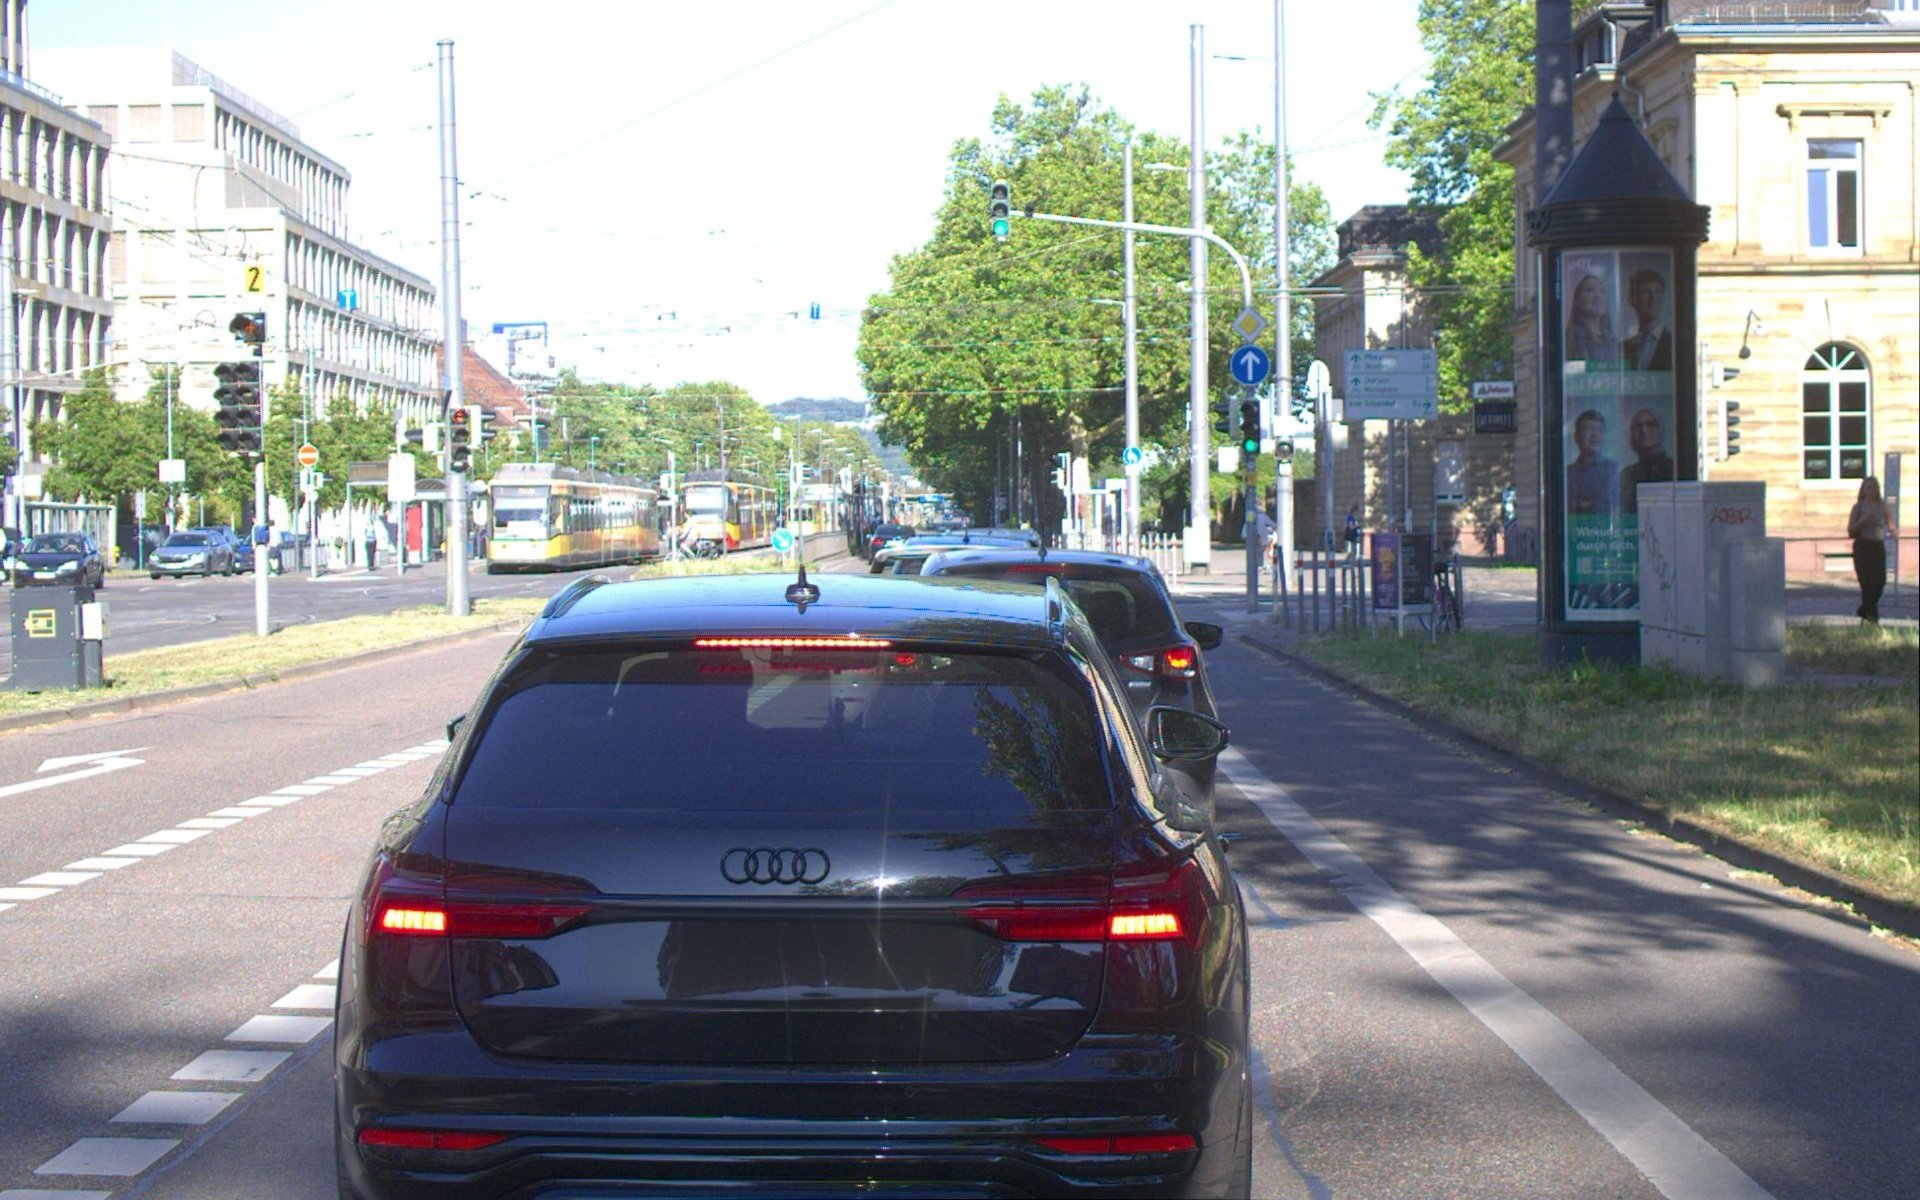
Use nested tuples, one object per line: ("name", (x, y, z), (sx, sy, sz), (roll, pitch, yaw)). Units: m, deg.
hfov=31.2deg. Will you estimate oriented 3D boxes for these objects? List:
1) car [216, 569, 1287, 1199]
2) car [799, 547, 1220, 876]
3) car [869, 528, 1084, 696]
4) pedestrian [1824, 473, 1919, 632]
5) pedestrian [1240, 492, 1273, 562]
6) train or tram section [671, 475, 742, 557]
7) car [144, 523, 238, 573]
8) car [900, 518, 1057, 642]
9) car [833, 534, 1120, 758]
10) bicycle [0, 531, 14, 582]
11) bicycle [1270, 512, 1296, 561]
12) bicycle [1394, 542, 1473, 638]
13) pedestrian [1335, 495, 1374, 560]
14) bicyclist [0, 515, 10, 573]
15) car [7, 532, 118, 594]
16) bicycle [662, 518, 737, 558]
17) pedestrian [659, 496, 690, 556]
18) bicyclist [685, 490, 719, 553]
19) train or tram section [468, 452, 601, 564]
("car", (-0.368, 0.656, 8.214), (1.902, 1.417, 4.145), (1, 1, 0))
("car", (0.231, 0.478, 17.752), (1.902, 1.481, 4.145), (1, 1, 0))
("car", (0.152, 0.077, 32.726), (1.902, 1.481, 4.145), (1, 1, 0))
("pedestrian", (9.962, -0.528, 37.587), (0.769, 1.703, 1.042), (-1, 1, 1))
("pedestrian", (7.077, -1.738, 81.957), (0.682, 1.655, 0.758), (-1, 1, -2))
("train or tram section", (-11.064, -3.700, 150.953), (2.608, 3.439, 11.134), (-1, 2, -2))
("car", (-23.577, -1.618, 105.494), (1.820, 1.452, 4.541), (-1, 1, 0))
("car", (0.232, -0.275, 43.836), (1.902, 1.481, 4.145), (1, 1, 0))
("car", (0.120, 0.278, 25.031), (1.902, 1.481, 4.145), (1, 1, 0))
("bicycle", (-26.562, -1.188, 94.155), (0.685, 1.377, 1.947), (-1, 1, 1))
("bicycle", (7.705, -1.513, 81.987), (0.434, 1.141, 1.340), (-1, 1, -2))
("bicycle", (5.411, -0.129, 39.382), (0.540, 1.058, 1.772), (-1, 1, -4))
("pedestrian", (11.284, -2.073, 98.322), (0.979, 1.859, 0.827), (-1, 1, 0))
("bicyclist", (-26.498, -1.532, 94.200), (0.685, 1.557, 0.785), (-1, 1, 1))
("car", (-22.128, -0.944, 84.914), (1.820, 1.452, 4.166), (-1, 1, -3))
("bicycle", (-7.480, -1.787, 98.621), (2.005, 1.104, 0.765), (-1, 2, -22))
("pedestrian", (-8.301, -2.144, 100.025), (0.739, 1.735, 0.664), (-1, 1, -19))
("bicyclist", (-7.396, -2.256, 98.645), (0.756, 1.812, 0.765), (-1, 2, -22))
("train or tram section", (-14.018, -3.034, 114.274), (2.813, 3.477, 13.205), (-1, 1, 0))
